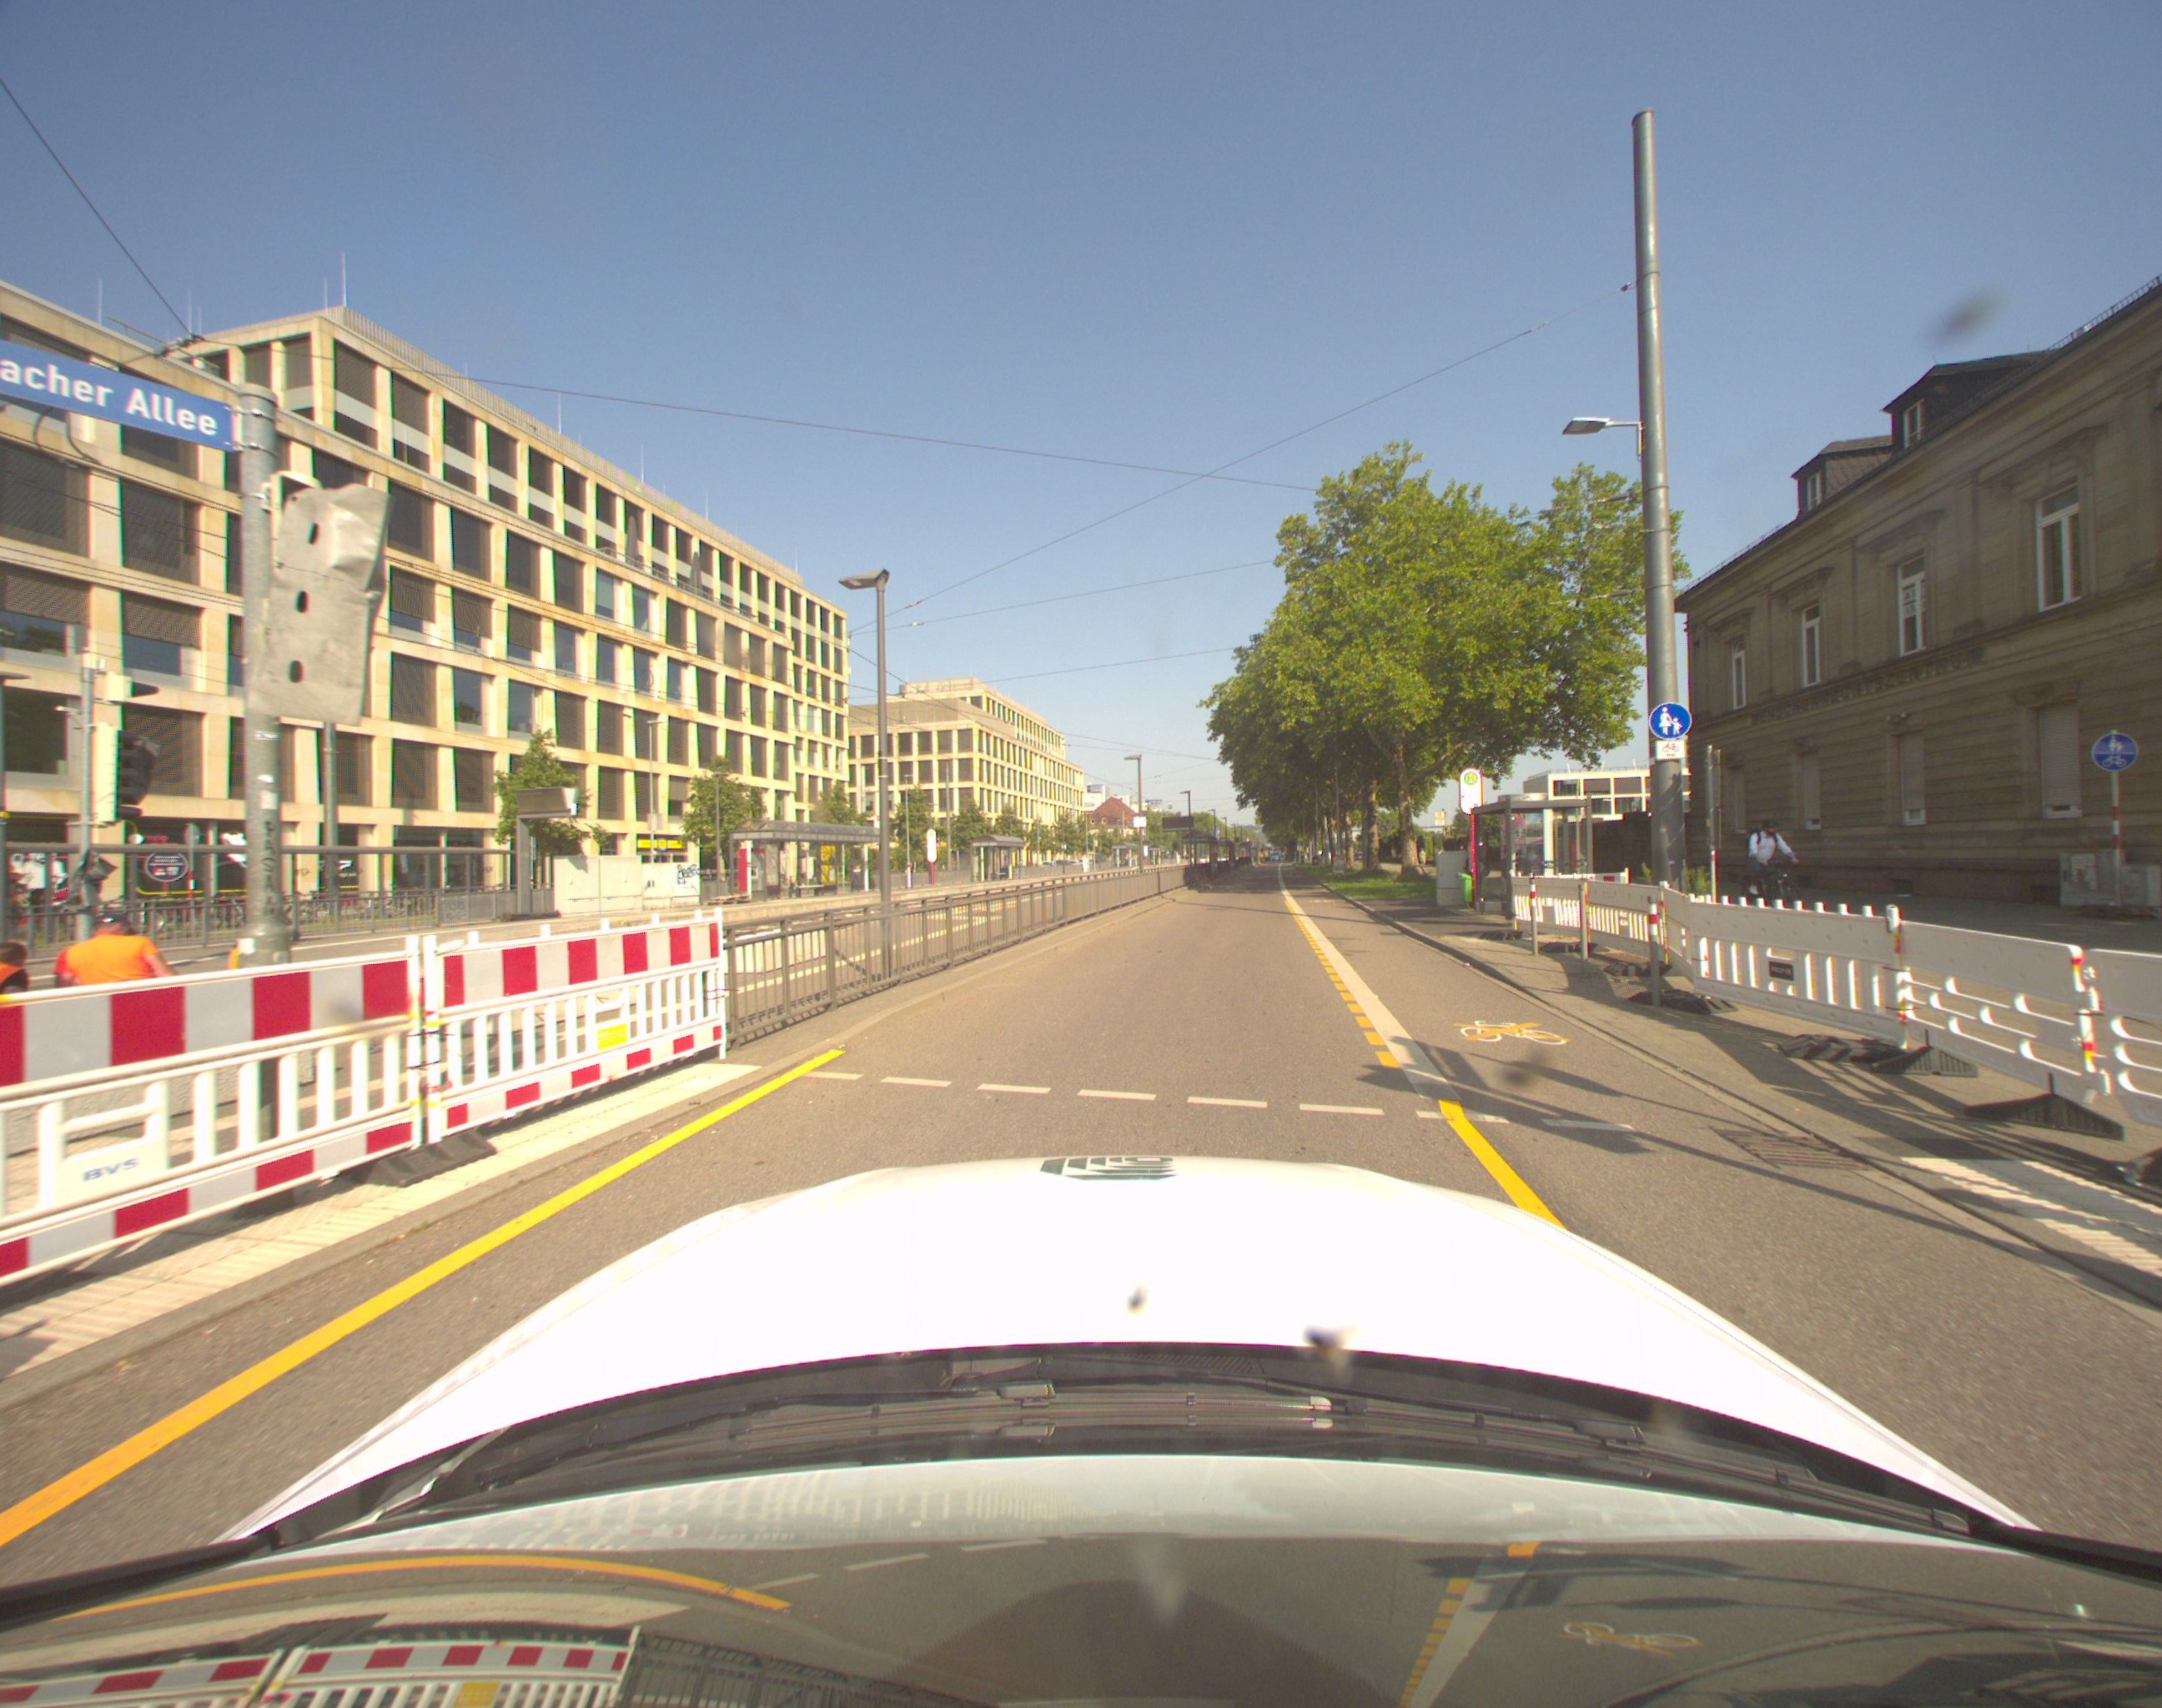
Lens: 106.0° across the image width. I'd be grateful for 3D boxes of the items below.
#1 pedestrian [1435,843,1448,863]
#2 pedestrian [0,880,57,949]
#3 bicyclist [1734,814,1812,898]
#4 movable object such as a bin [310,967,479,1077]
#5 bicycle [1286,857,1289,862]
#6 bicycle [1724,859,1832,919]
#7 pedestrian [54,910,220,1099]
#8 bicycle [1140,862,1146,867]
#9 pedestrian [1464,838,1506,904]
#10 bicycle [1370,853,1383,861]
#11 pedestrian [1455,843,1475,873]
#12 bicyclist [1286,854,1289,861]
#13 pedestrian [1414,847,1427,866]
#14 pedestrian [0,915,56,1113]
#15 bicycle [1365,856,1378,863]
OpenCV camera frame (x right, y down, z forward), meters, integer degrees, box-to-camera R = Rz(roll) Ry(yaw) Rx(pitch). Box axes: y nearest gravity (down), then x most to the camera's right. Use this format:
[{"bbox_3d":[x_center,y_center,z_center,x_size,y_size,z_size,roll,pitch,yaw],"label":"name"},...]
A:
[{"bbox_3d":[29.690,-0.080,67.080,0.800,1.604,0.951,-3,-1,14],"label":"pedestrian"},{"bbox_3d":[-28.501,1.609,21.726,0.969,1.752,1.127,-2,-1,13],"label":"pedestrian"},{"bbox_3d":[13.208,0.040,15.573,0.712,1.543,0.959,-2,0,11],"label":"bicyclist"},{"bbox_3d":[-5.772,1.362,6.830,1.491,0.652,0.706,-2,0,35],"label":"movable object such as a bin"},{"bbox_3d":[44.043,1.199,173.654,0.710,1.107,2.518,-1,-1,14],"label":"bicycle"},{"bbox_3d":[13.219,0.633,15.523,0.712,1.042,1.909,-2,0,11],"label":"bicycle"},{"bbox_3d":[-7.534,1.135,6.503,0.829,1.306,0.803,-2,0,38],"label":"pedestrian"},{"bbox_3d":[8.644,1.463,113.094,0.473,0.662,1.621,-2,-1,18],"label":"bicycle"},{"bbox_3d":[10.616,0.435,21.427,0.687,1.697,0.647,-2,-1,-8],"label":"pedestrian"},{"bbox_3d":[41.702,0.452,114.750,1.643,0.969,0.508,-4,-1,16],"label":"bicycle"},{"bbox_3d":[22.269,0.211,47.289,0.813,1.686,1.016,-2,-1,14],"label":"pedestrian"},{"bbox_3d":[44.045,0.729,173.724,0.700,1.461,1.013,-1,-1,14],"label":"bicyclist"},{"bbox_3d":[28.200,0.209,67.681,0.800,1.604,0.951,-3,-1,14],"label":"pedestrian"},{"bbox_3d":[-8.000,1.133,5.817,1.299,1.306,0.803,-2,0,38],"label":"pedestrian"},{"bbox_3d":[39.444,0.749,110.606,1.642,0.969,0.508,-4,-1,19],"label":"bicycle"}]
